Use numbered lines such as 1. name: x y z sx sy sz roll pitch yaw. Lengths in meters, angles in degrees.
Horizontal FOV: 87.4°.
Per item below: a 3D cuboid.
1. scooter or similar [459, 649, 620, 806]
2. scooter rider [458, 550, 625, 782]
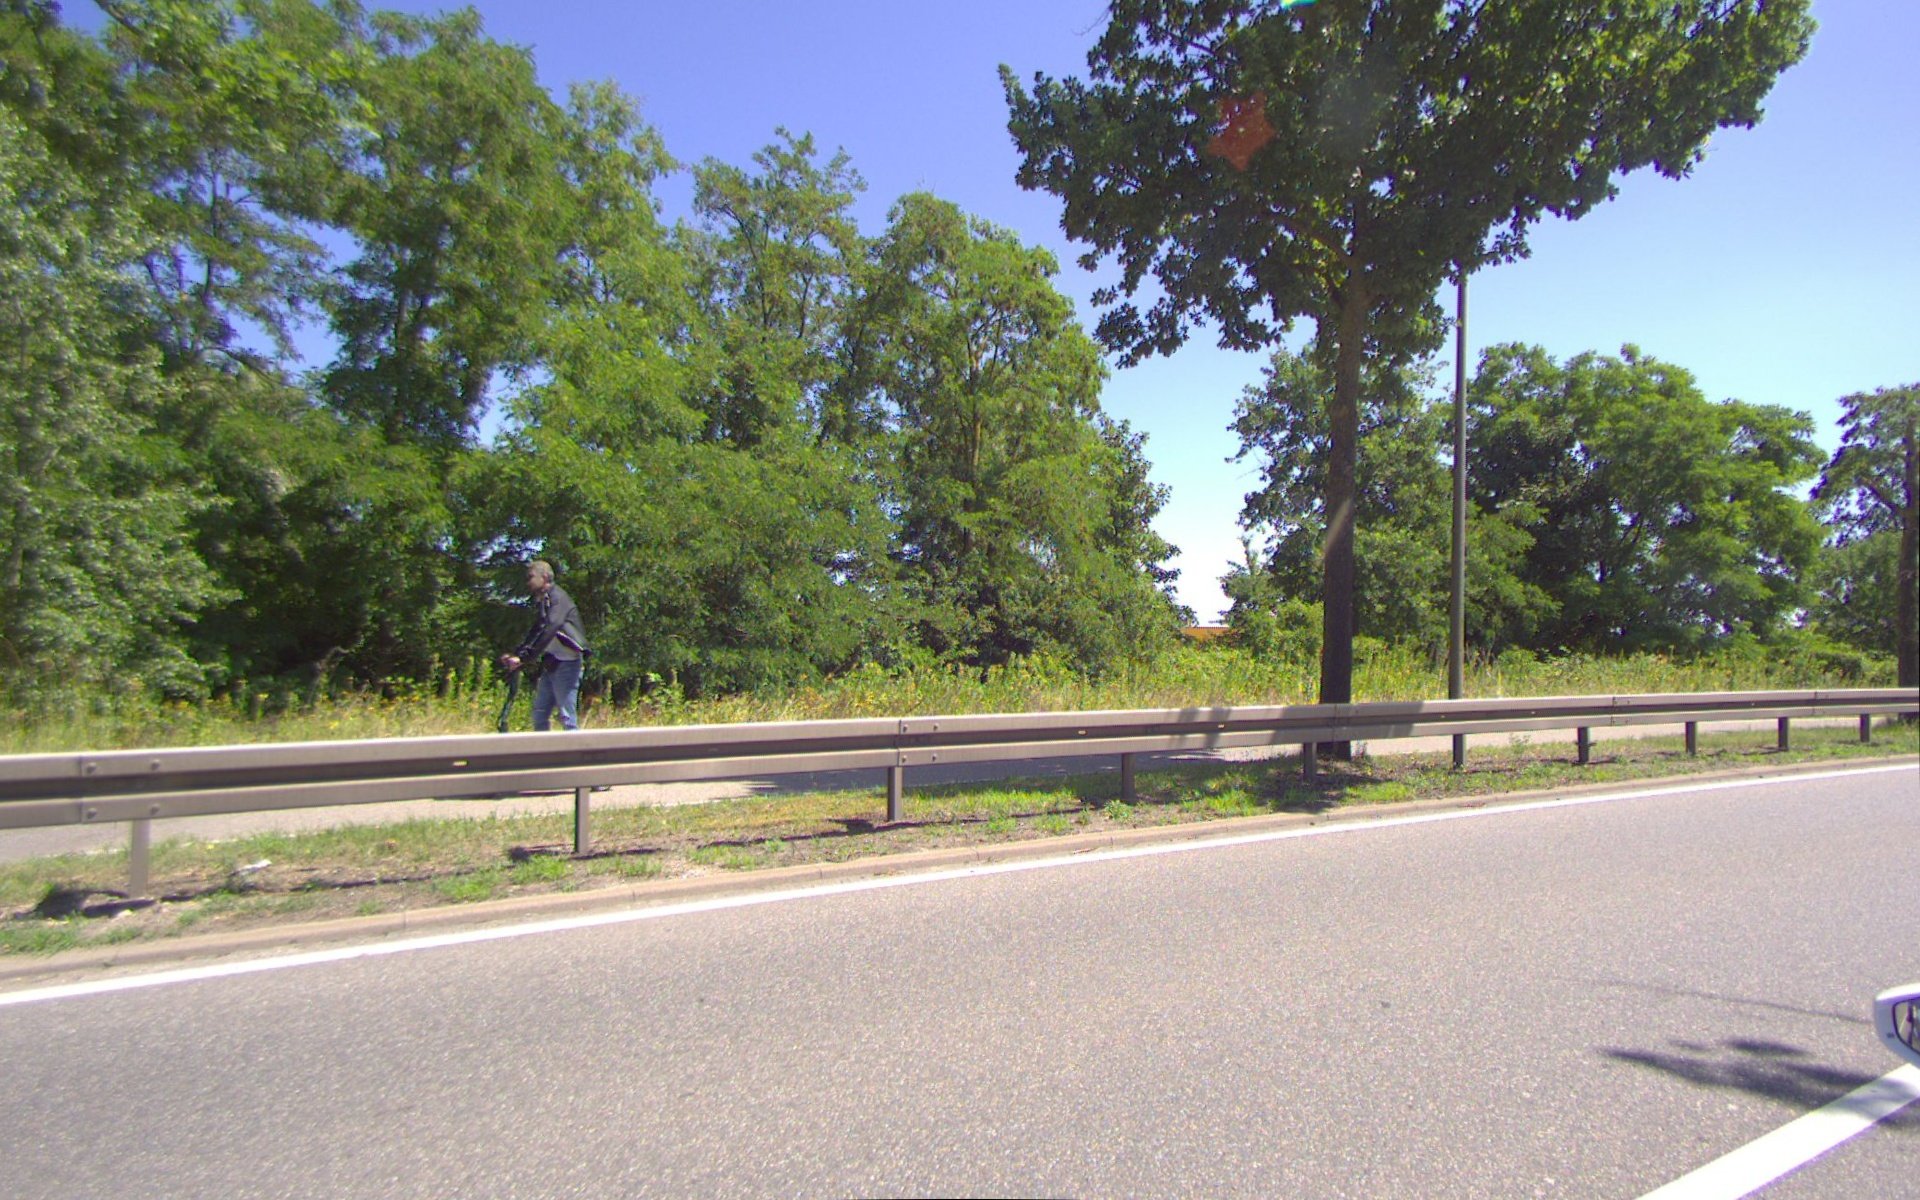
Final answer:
1. scooter or similar: -3.300 0.956 7.869 1.081 1.105 0.774 2 -1 -28
2. scooter rider: -3.290 0.491 7.877 1.107 1.679 0.774 2 0 -28
